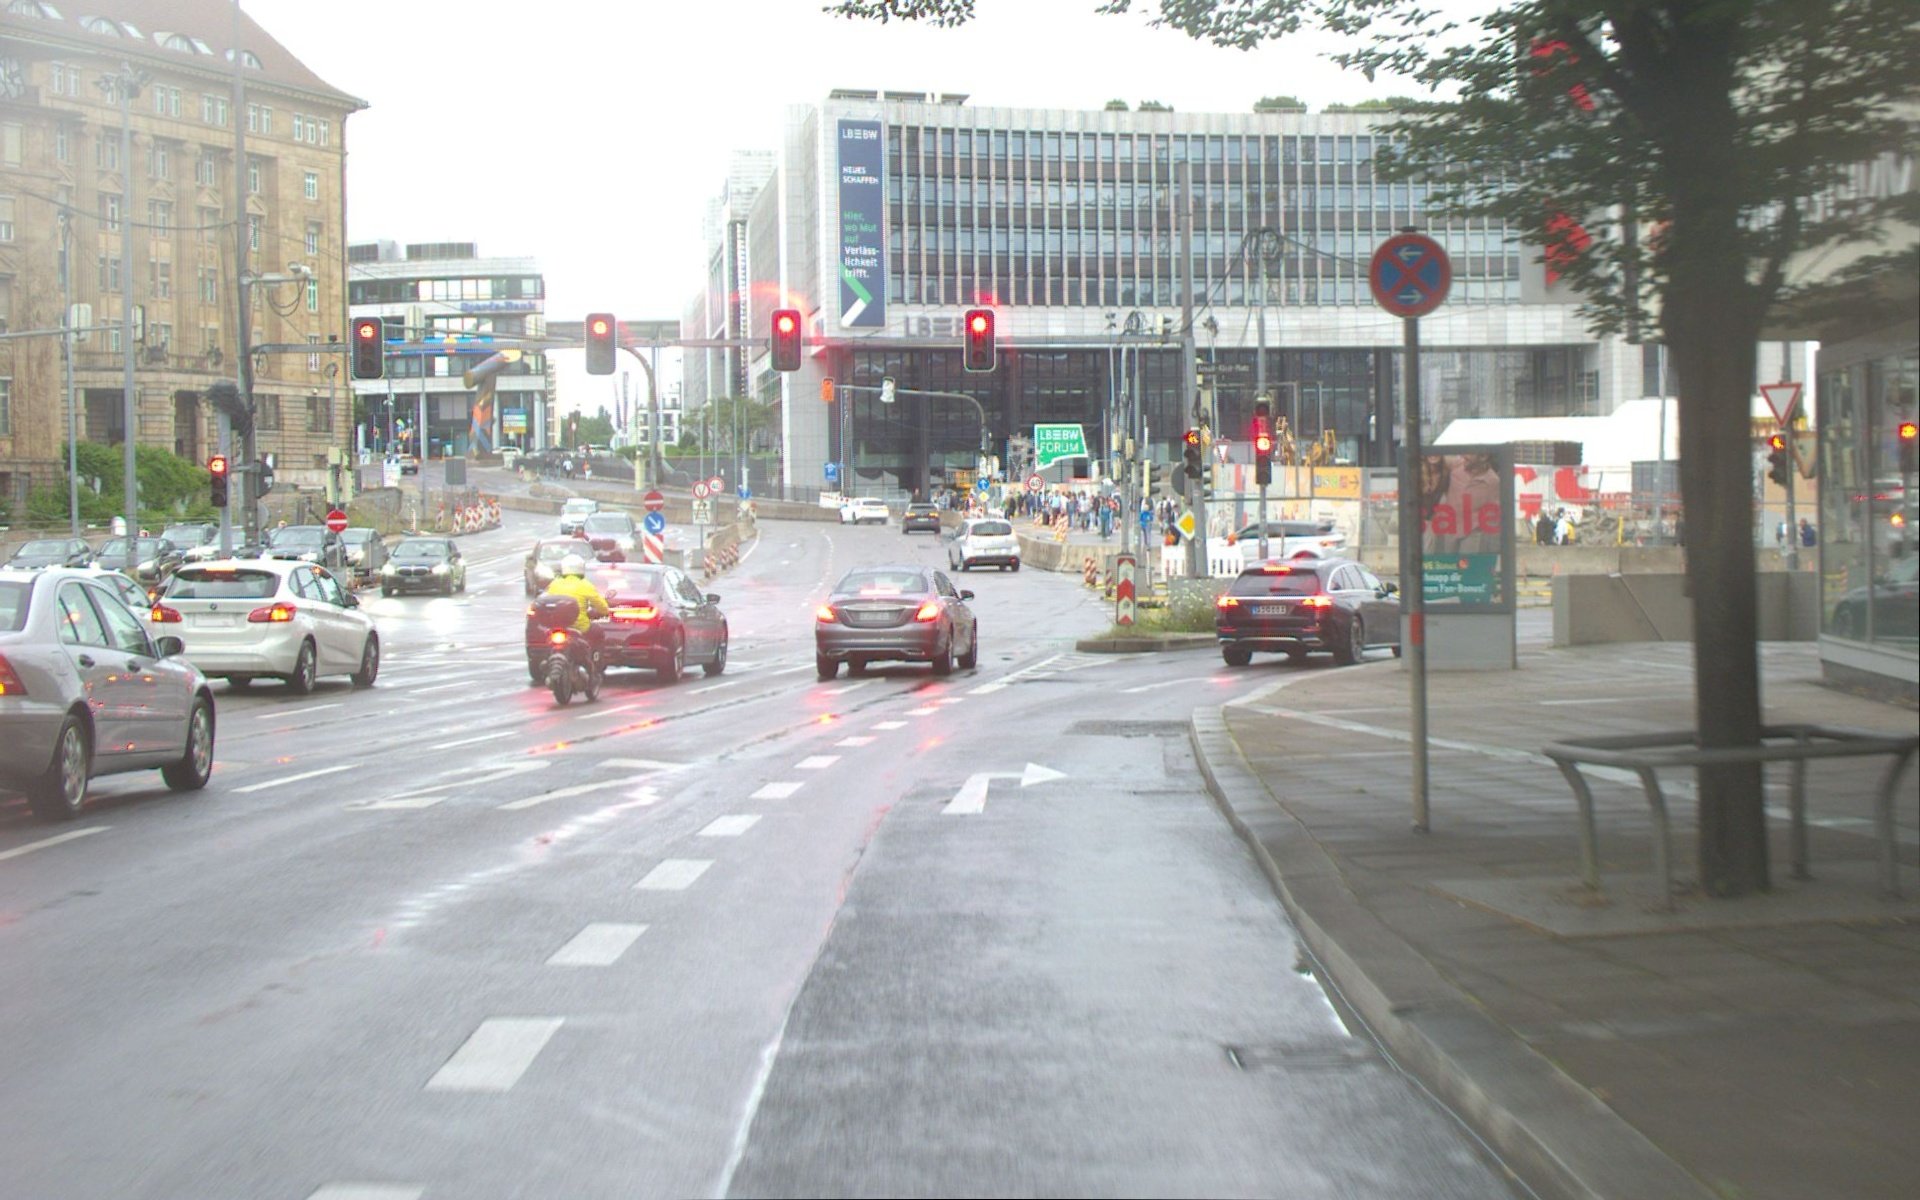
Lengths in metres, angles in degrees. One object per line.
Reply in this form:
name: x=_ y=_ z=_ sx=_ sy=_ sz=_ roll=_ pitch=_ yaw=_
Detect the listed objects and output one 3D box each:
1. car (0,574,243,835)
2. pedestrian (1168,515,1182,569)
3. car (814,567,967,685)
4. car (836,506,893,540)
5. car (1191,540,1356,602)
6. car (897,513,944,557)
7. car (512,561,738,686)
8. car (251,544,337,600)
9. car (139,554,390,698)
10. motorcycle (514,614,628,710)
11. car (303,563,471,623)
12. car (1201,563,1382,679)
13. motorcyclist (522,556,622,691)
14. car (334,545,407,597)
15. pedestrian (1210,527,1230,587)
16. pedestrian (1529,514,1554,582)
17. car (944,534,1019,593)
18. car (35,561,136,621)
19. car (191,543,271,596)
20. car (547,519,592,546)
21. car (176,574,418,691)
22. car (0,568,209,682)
car: x=-5.798 y=0.554 z=20.734 sx=1.733 sy=1.399 sz=4.382 roll=1 pitch=0 yaw=4
pedestrian: x=7.643 y=-2.052 z=122.244 sx=0.361 sy=1.892 sz=0.576 roll=1 pitch=0 yaw=-13
car: x=-0.894 y=0.315 z=46.620 sx=1.783 sy=1.397 sz=4.486 roll=0 pitch=2 yaw=3
car: x=-5.392 y=-4.329 z=193.698 sx=1.993 sy=1.810 sz=4.001 roll=1 pitch=0 yaw=-20
car: x=8.453 y=-0.792 z=92.740 sx=3.992 sy=1.634 sz=1.997 roll=1 pitch=0 yaw=23
car: x=-1.874 y=-3.047 z=161.916 sx=1.993 sy=2.007 sz=4.000 roll=1 pitch=0 yaw=-3
car: x=-4.276 y=0.289 z=44.668 sx=1.887 sy=1.509 sz=5.001 roll=1 pitch=0 yaw=7
car: x=-19.109 y=-0.792 z=98.815 sx=1.801 sy=1.568 sz=4.075 roll=1 pitch=0 yaw=-2
car: x=-8.181 y=0.288 z=40.782 sx=1.733 sy=1.610 sz=3.999 roll=1 pitch=0 yaw=7
motorcycle: x=-4.281 y=0.673 z=38.013 sx=0.942 sy=0.986 sz=2.294 roll=1 pitch=1 yaw=1
car: x=-14.927 y=-0.186 z=89.519 sx=4.107 sy=1.501 sz=1.996 roll=1 pitch=0 yaw=36
car: x=4.715 y=0.285 z=48.423 sx=1.892 sy=1.539 sz=3.990 roll=1 pitch=0 yaw=15
motorcyclist: x=-4.289 y=0.254 z=38.067 sx=0.941 sy=1.470 sz=1.100 roll=1 pitch=0 yaw=1
car: x=-18.304 y=-0.882 z=106.867 sx=1.697 sy=1.568 sz=4.000 roll=1 pitch=0 yaw=-2
pedestrian: x=8.273 y=-1.370 z=109.415 sx=0.361 sy=1.892 sz=0.576 roll=1 pitch=0 yaw=-34
pedestrian: x=16.186 y=-1.441 z=95.697 sx=0.576 sy=1.892 sz=0.361 roll=0 pitch=0 yaw=38
car: x=0.642 y=-1.128 z=105.855 sx=1.727 sy=1.634 sz=3.436 roll=1 pitch=3 yaw=-9
car: x=-23.356 y=-0.243 z=91.953 sx=1.697 sy=1.514 sz=3.875 roll=-2 pitch=0 yaw=0
car: x=-22.165 y=-0.906 z=104.655 sx=1.697 sy=1.568 sz=4.000 roll=1 pitch=0 yaw=-2
car: x=-19.721 y=-3.386 z=173.650 sx=1.767 sy=1.256 sz=4.194 roll=1 pitch=0 yaw=0
car: x=-9.525 y=0.453 z=49.690 sx=1.784 sy=1.594 sz=4.069 roll=1 pitch=0 yaw=16
car: x=-10.906 y=0.298 z=43.522 sx=1.783 sy=1.369 sz=3.993 roll=1 pitch=0 yaw=2
